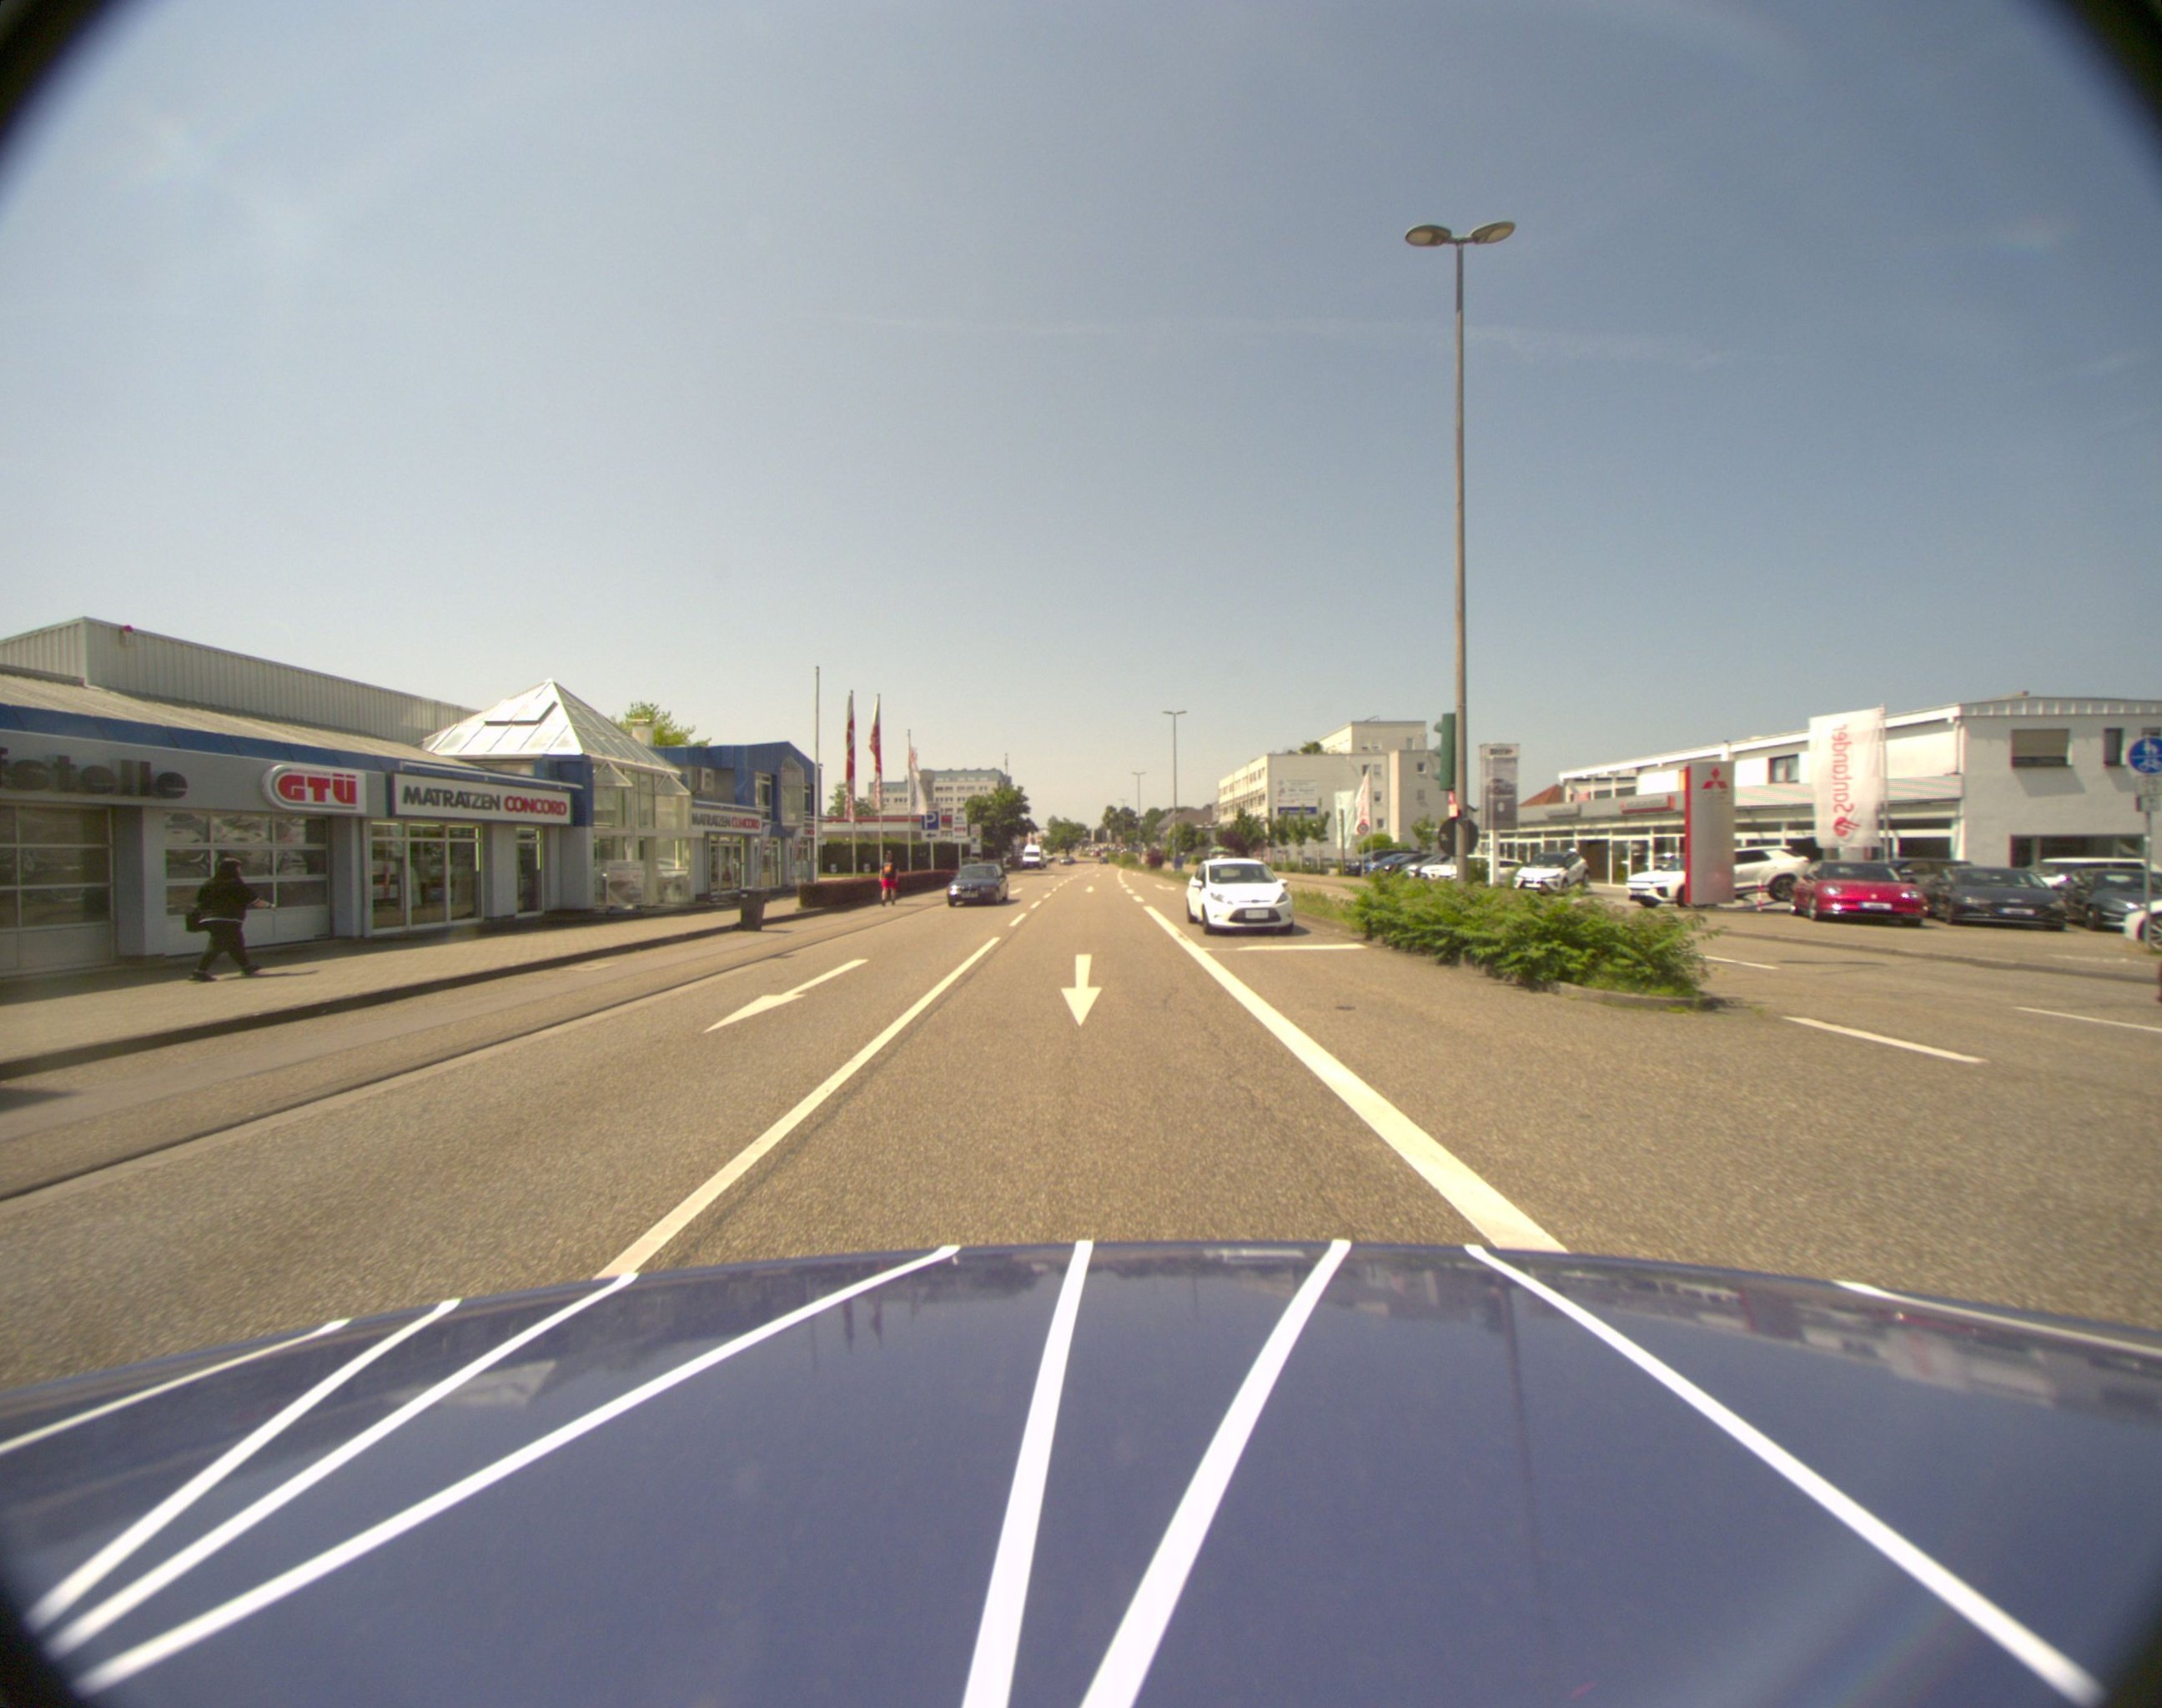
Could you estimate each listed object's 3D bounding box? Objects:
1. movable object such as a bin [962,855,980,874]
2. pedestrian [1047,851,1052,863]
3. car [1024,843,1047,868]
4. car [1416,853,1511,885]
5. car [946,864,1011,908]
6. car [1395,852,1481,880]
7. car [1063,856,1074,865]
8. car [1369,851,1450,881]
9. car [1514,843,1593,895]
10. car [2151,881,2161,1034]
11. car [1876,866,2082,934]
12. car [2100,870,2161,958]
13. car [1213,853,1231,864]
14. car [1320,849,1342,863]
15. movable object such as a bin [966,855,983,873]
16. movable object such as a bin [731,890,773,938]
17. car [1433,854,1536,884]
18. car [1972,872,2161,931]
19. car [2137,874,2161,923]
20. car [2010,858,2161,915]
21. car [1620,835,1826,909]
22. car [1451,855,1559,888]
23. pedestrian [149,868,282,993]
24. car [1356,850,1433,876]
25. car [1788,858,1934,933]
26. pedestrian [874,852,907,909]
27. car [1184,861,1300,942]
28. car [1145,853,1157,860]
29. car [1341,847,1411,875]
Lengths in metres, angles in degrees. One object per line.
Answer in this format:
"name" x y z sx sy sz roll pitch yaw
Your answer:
"movable object such as a bin" -8.554 0.797 59.287 1.133 1.461 1.489 0 1 1
"pedestrian" -4.487 0.418 107.987 0.704 1.572 0.820 2 1 -2
"car" -5.240 0.165 88.166 2.183 2.757 7.277 2 0 0
"car" 19.905 0.777 39.671 3.996 1.599 1.926 0 1 3
"car" -3.457 1.053 26.245 1.632 1.331 3.756 -2 0 1
"car" 19.927 0.663 42.556 3.997 1.559 1.760 0 0 -1
"car" -2.240 1.195 132.884 1.867 1.550 4.000 0 0 0
"car" 19.694 0.726 45.633 3.997 1.599 1.759 3 1 -1
"car" 19.760 0.563 31.683 4.005 1.615 1.755 -9 6 -42
"car" 11.389 1.011 5.132 1.998 1.477 4.501 0 0 1
"car" 22.224 1.063 19.055 1.647 1.418 4.006 0 0 22
"car" 18.292 0.988 10.624 1.780 1.402 4.759 0 0 2
"car" 19.054 0.601 102.647 1.695 1.440 3.665 -2 0 0
"car" 28.368 0.180 86.343 1.557 1.510 3.556 0 0 3
"movable object such as a bin" -8.499 0.787 60.892 1.133 1.461 1.489 0 1 1
"movable object such as a bin" -6.843 1.243 15.830 0.552 0.914 0.652 3 1 1
"car" 19.471 0.702 36.756 3.997 1.386 1.860 0 1 0
"car" 25.149 1.130 19.260 1.647 1.244 4.006 0 0 22
"car" 28.517 1.188 18.478 1.646 1.244 4.007 0 0 27
"car" 31.023 0.950 22.792 3.997 1.606 1.865 0 1 1
"car" 19.527 0.518 23.262 4.556 1.699 1.760 -6 1 4
"car" 19.498 0.783 35.066 3.997 1.458 1.759 0 1 0
"pedestrian" -11.812 1.015 10.400 0.812 1.617 0.853 -1 1 4
"car" 19.991 0.569 48.578 3.997 1.599 2.089 0 1 0
"car" 19.484 0.940 19.187 1.835 1.633 4.187 0 1 35
"pedestrian" -6.296 0.855 25.122 0.787 1.836 0.936 0 1 3
"car" 3.191 0.886 15.728 1.693 1.426 3.711 -1 0 1
"car" 13.405 0.463 146.036 1.832 1.452 4.712 0 0 0
"car" 19.887 0.454 51.360 3.997 1.871 2.000 0 1 0
